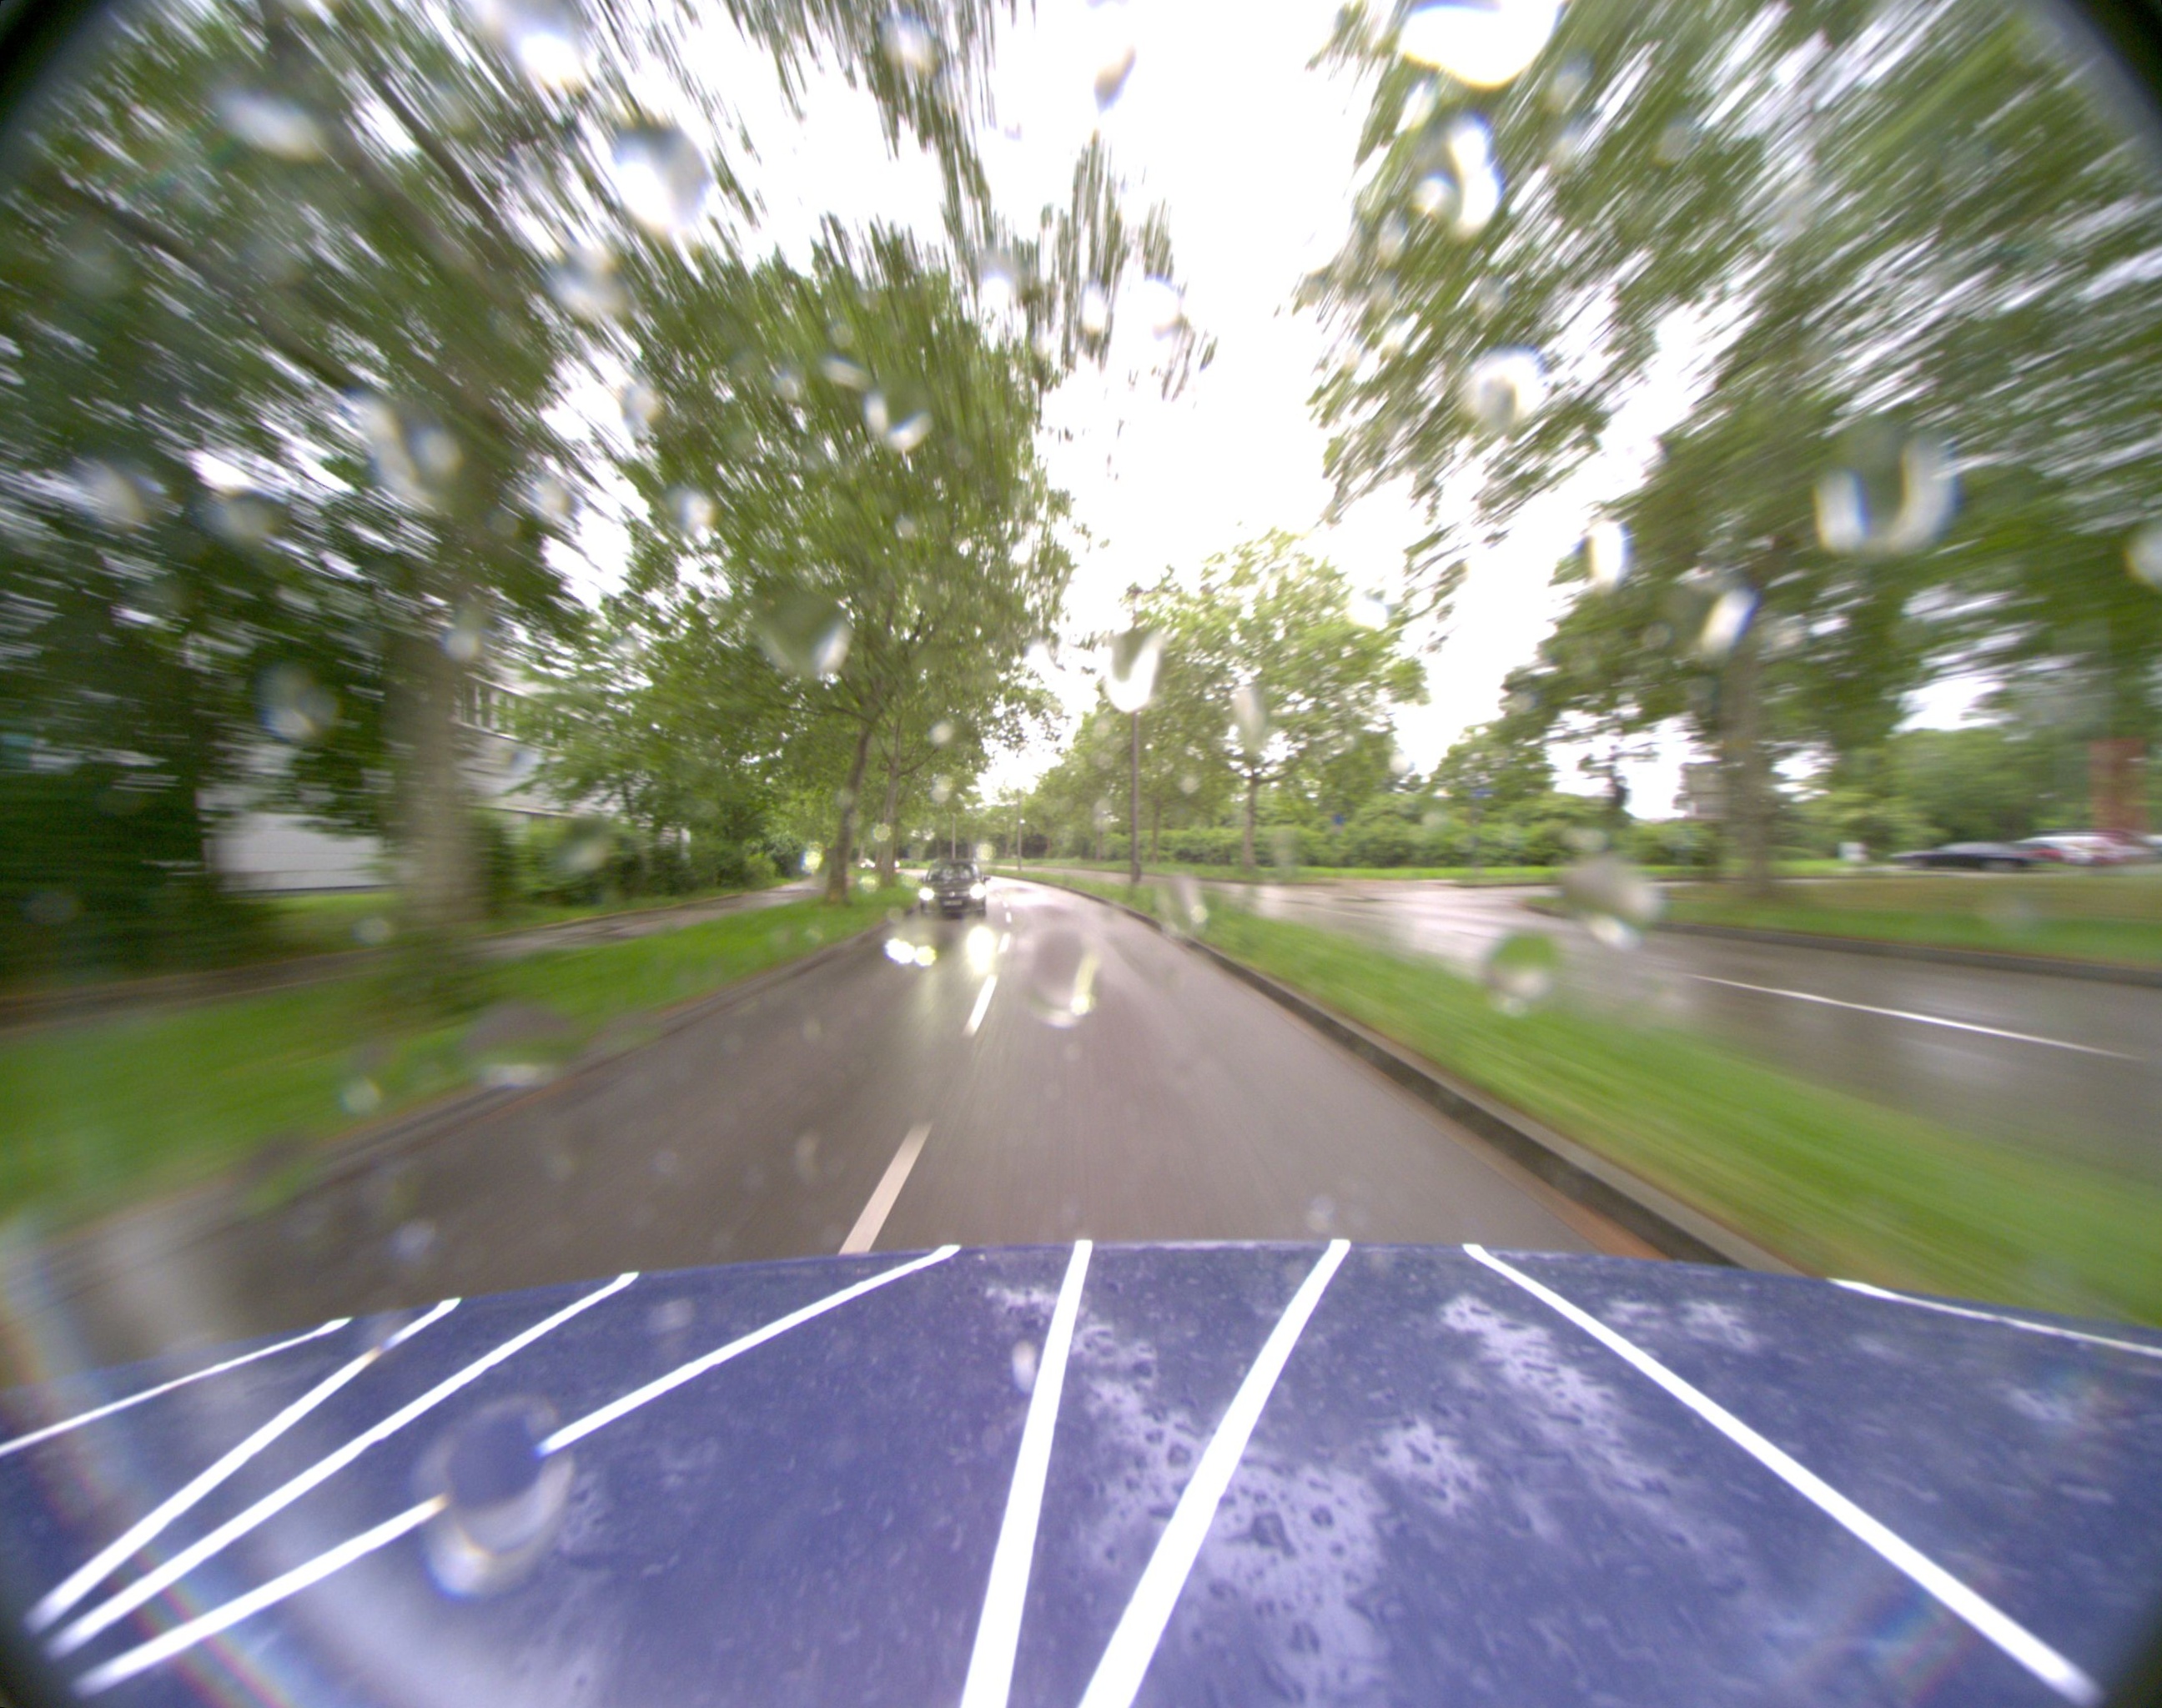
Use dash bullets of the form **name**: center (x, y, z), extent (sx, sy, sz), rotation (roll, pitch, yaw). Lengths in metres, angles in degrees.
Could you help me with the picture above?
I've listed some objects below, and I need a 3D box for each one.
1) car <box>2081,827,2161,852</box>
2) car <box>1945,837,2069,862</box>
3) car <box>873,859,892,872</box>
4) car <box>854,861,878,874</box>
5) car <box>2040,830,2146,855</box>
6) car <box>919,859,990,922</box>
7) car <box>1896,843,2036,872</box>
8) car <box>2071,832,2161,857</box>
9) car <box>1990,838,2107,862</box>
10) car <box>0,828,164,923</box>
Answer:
- **car**: center (78.301, -1.067, 56.713), extent (1.600, 1.735, 4.196), rotation (-1, 0, -27)
- **car**: center (52.126, -0.235, 42.889), extent (1.600, 1.350, 4.196), rotation (-1, 0, -27)
- **car**: center (-25.396, 1.488, 97.166), extent (1.787, 1.546, 3.992), rotation (-1, 0, -23)
- **car**: center (-26.696, 1.659, 94.352), extent (1.788, 1.546, 3.990), rotation (-1, 0, -33)
- **car**: center (69.510, -0.785, 52.273), extent (1.600, 1.618, 4.196), rotation (-1, 0, -27)
- **car**: center (-3.611, 0.988, 22.292), extent (1.785, 1.546, 3.997), rotation (-3, 0, -7)
- **car**: center (43.977, 0.170, 37.869), extent (1.600, 1.350, 4.283), rotation (-1, 0, -27)
- **car**: center (74.427, -0.656, 54.329), extent (1.600, 1.735, 4.196), rotation (-1, 0, -27)
- **car**: center (59.075, -0.227, 46.496), extent (1.600, 1.350, 4.196), rotation (-1, 0, -27)
- **car**: center (-18.580, 0.423, 12.534), extent (4.158, 1.473, 1.767), rotation (-2, -2, -14)
